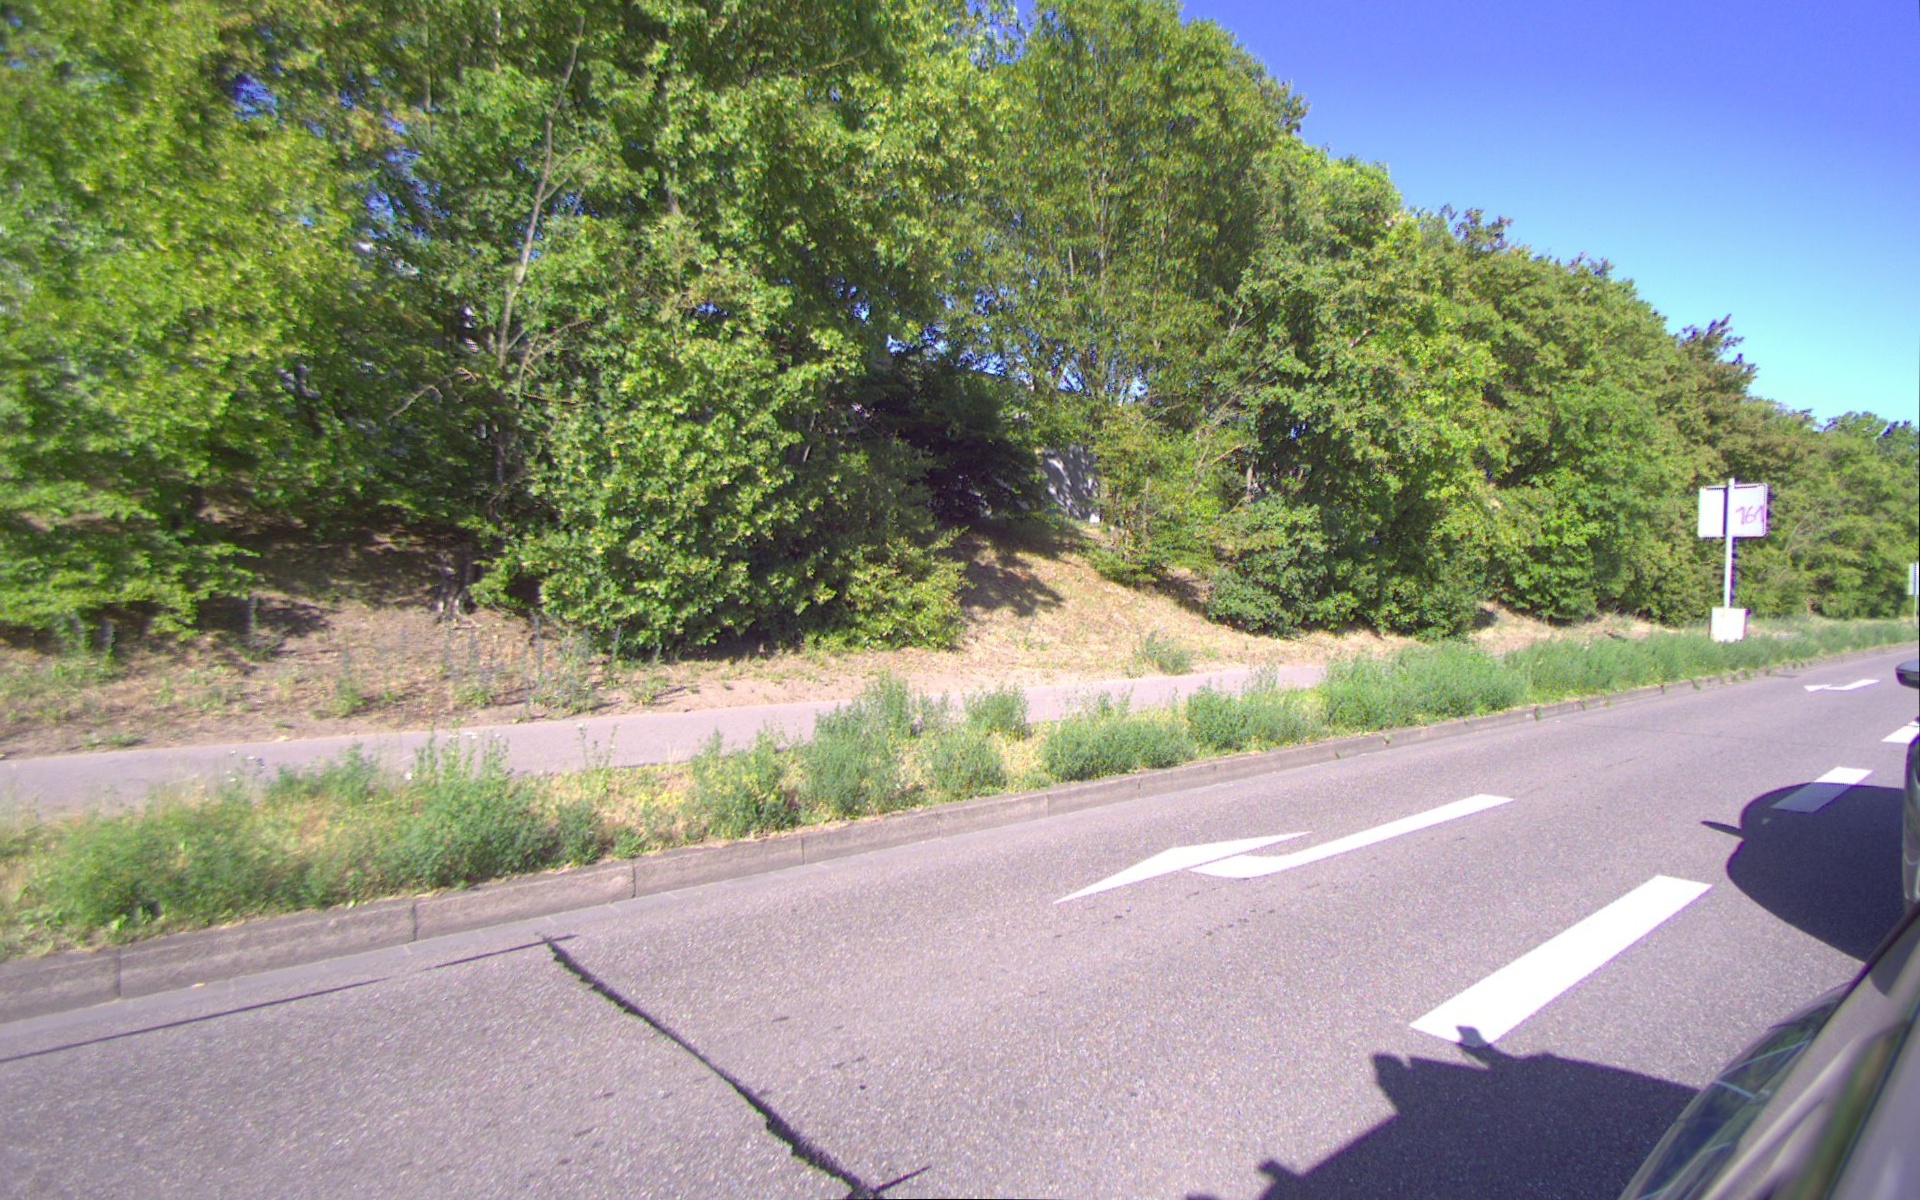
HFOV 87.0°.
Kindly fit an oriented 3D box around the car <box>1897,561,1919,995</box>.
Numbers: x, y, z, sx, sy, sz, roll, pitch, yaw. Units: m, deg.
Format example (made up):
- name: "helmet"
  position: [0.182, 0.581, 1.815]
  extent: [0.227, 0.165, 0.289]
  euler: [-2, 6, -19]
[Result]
- name: "car"
  position: [5.722, 0.659, 4.528]
  extent: [4.327, 1.603, 1.860]
  euler: [0, 0, -42]
